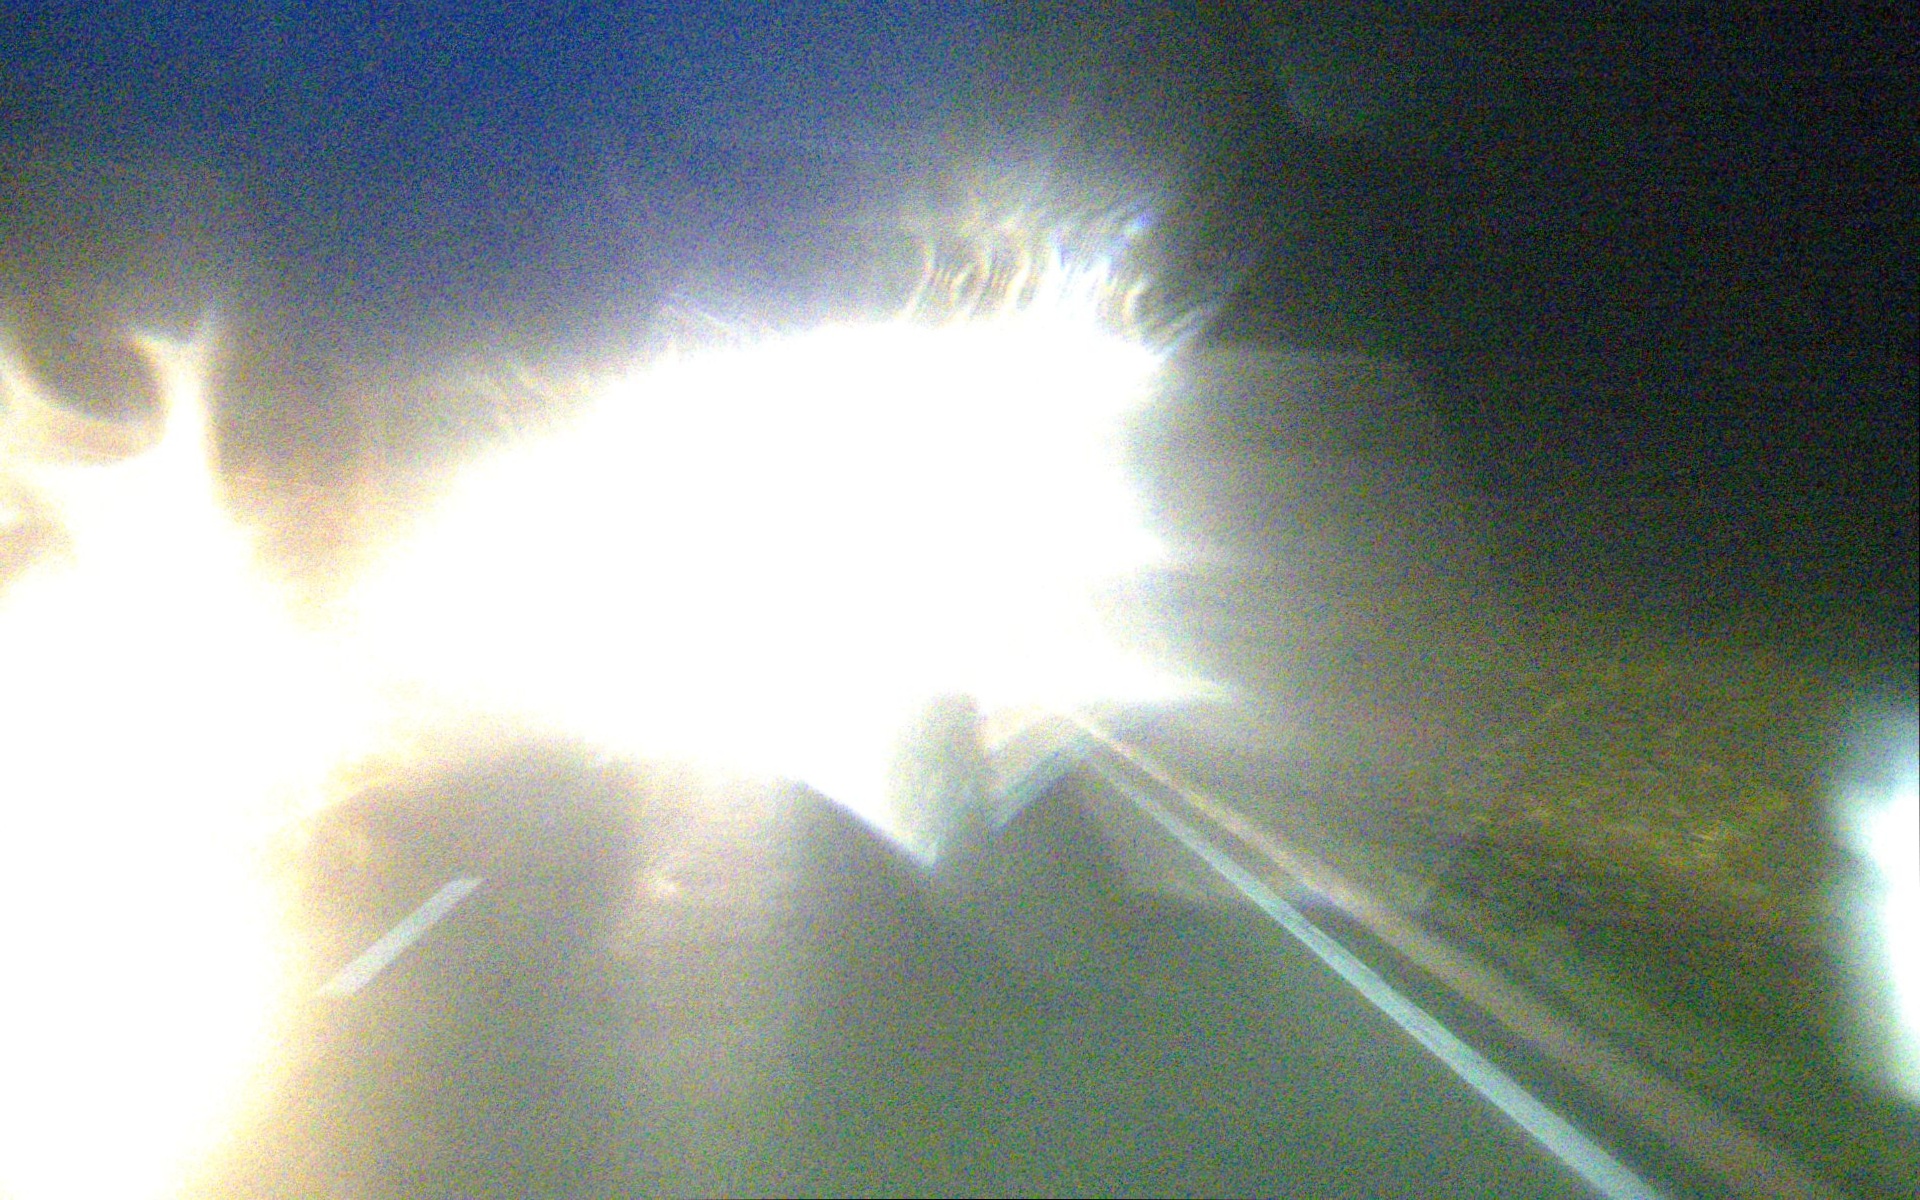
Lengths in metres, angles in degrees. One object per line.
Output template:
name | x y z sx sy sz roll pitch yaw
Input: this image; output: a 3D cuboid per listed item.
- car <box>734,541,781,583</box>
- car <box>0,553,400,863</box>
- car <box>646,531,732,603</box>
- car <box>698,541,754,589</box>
car | -7.593 -1.438 128.738 1.644 1.420 4.124 3 1 -4
car | -4.444 0.546 20.210 1.721 1.607 4.002 0 1 -1
car | -6.429 -0.809 81.861 1.808 1.594 4.632 2 1 -2
car | -7.449 -1.127 109.464 1.644 1.420 3.659 3 1 -3
